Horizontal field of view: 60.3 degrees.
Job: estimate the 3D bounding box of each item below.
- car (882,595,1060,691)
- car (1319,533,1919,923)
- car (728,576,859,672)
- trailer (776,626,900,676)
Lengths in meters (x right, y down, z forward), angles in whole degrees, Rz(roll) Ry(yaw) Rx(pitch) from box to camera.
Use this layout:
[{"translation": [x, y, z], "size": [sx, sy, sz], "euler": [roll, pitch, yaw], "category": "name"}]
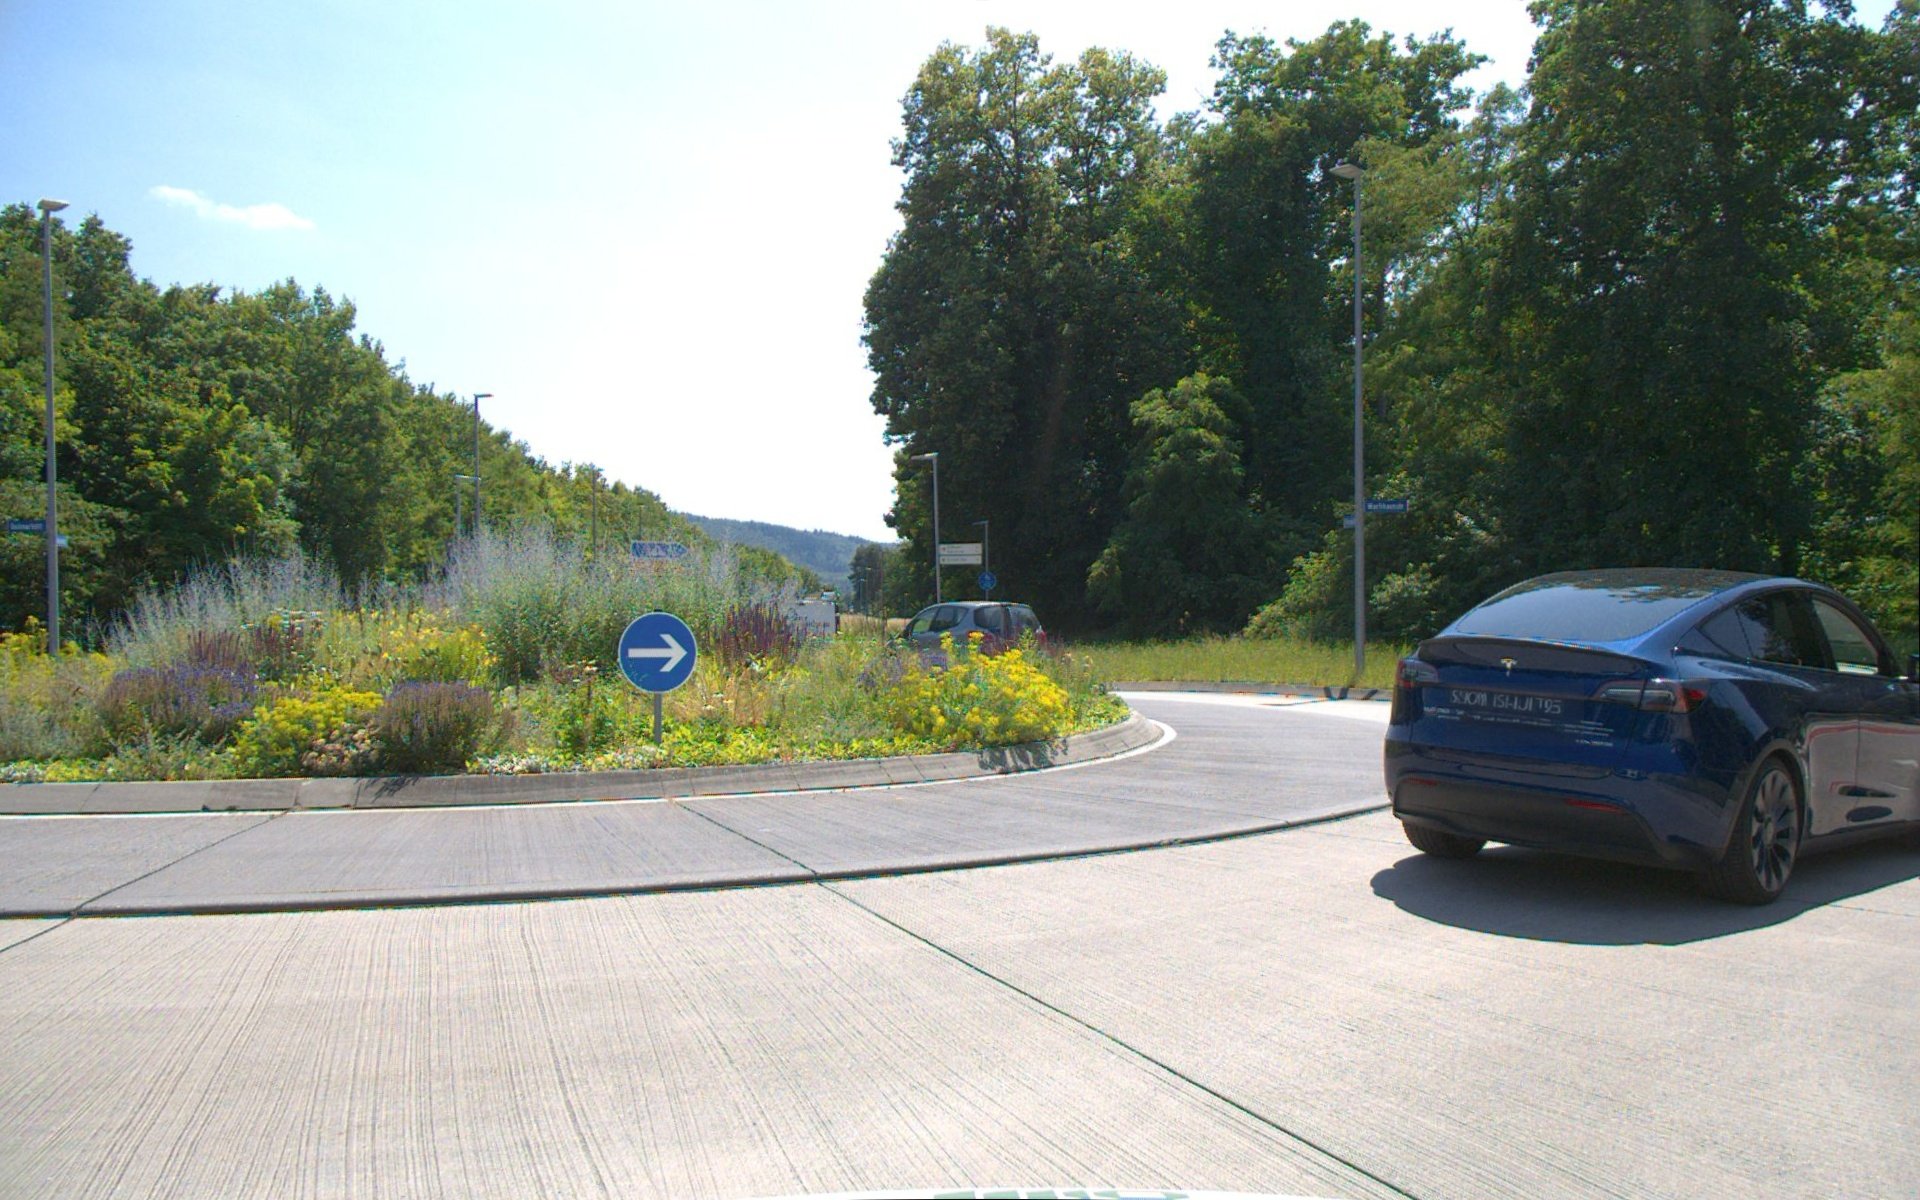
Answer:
[{"translation": [0.126, 0.760, 30.454], "size": [1.761, 1.635, 4.096], "euler": [1, -1, -24], "category": "car"}, {"translation": [4.263, 0.556, 9.422], "size": [4.716, 1.668, 1.970], "euler": [0, -1, -42], "category": "car"}, {"translation": [-4.463, 0.635, 43.574], "size": [2.136, 2.357, 4.947], "euler": [1, -1, -22], "category": "car"}, {"translation": [-2.984, 1.203, 39.754], "size": [2.092, 1.116, 3.332], "euler": [1, -1, -22], "category": "trailer"}]
